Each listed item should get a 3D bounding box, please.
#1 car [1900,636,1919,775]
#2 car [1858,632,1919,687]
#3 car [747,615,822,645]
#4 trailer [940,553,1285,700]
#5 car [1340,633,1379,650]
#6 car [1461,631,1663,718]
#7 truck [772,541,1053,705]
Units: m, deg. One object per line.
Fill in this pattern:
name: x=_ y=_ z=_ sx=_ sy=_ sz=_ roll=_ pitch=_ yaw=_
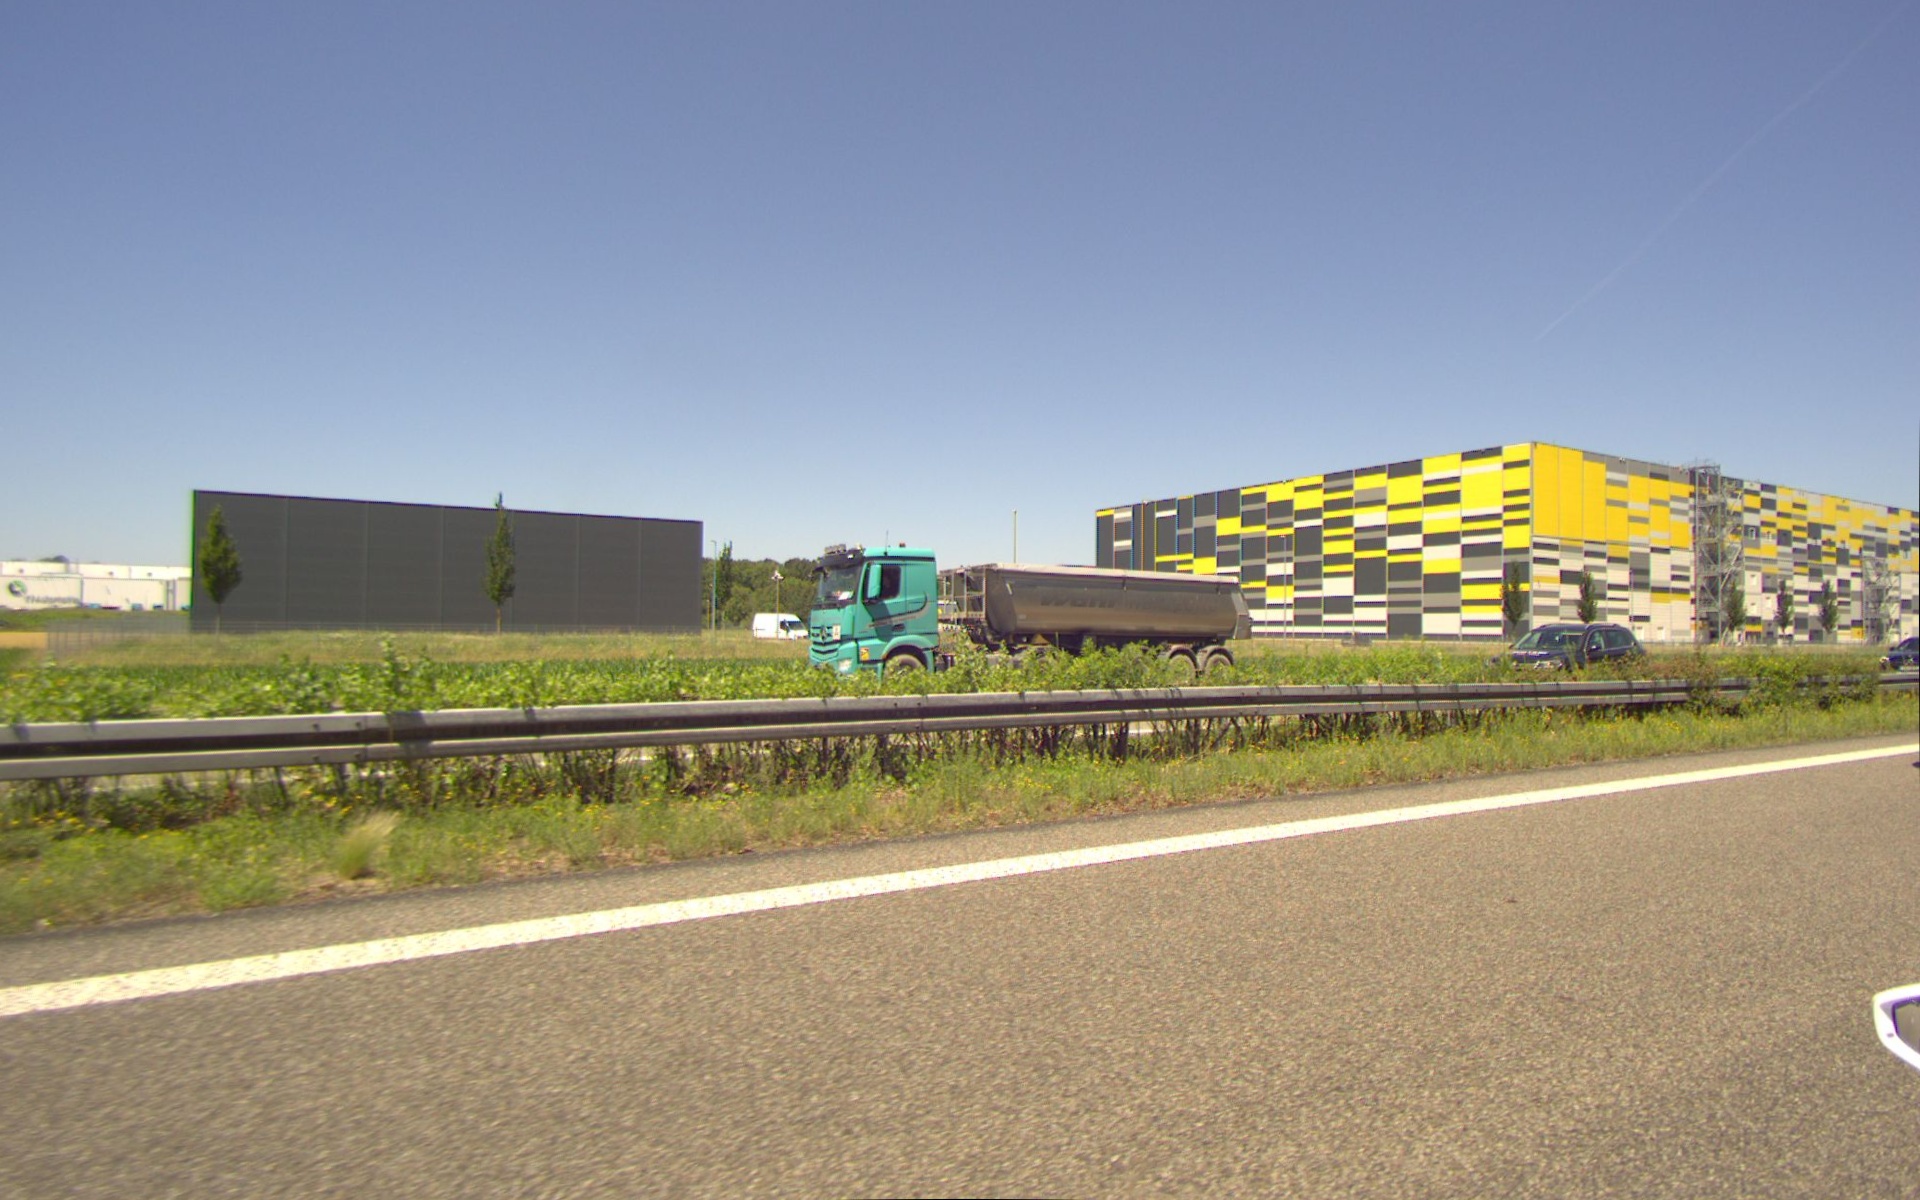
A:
car: x=12.010 y=1.143 z=10.776 sx=4.006 sy=1.430 sz=1.783 roll=2 pitch=0 yaw=-31
car: x=32.957 y=2.008 z=34.324 sx=4.786 sy=1.802 sz=2.018 roll=2 pitch=-2 yaw=-30
car: x=-13.585 y=2.309 z=77.664 sx=5.506 sy=2.206 sz=2.106 roll=-1 pitch=-2 yaw=28
trailer: x=4.135 y=0.741 z=25.836 sx=9.151 sy=3.280 sz=2.662 roll=2 pitch=-1 yaw=-31
car: x=41.567 y=4.338 z=104.506 sx=4.067 sy=1.750 sz=1.675 roll=2 pitch=-2 yaw=-32
car: x=13.418 y=1.586 z=22.333 sx=4.667 sy=1.765 sz=1.860 roll=2 pitch=-2 yaw=-30
truck: x=-1.023 y=0.564 z=22.765 sx=5.770 sy=3.293 sz=2.685 roll=2 pitch=-2 yaw=-30
